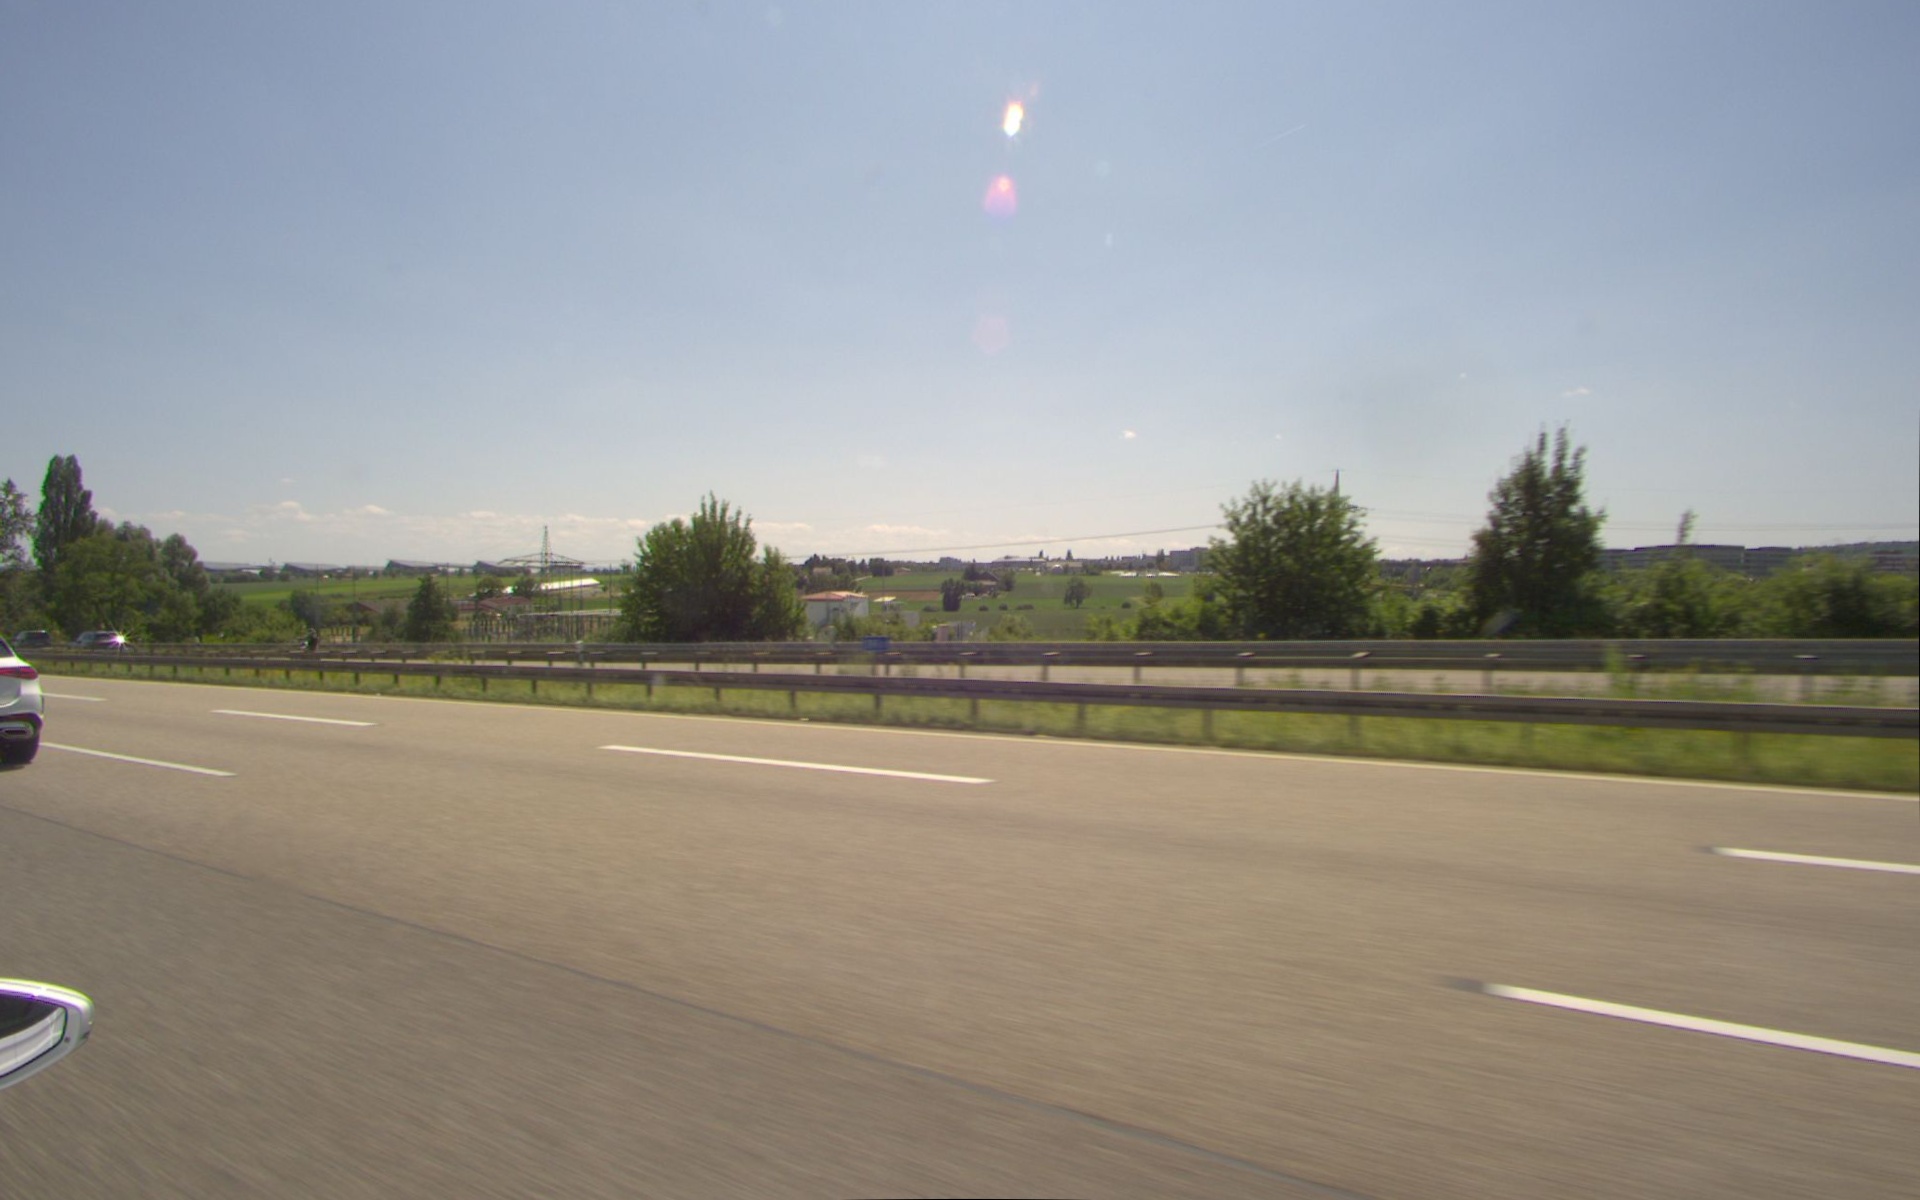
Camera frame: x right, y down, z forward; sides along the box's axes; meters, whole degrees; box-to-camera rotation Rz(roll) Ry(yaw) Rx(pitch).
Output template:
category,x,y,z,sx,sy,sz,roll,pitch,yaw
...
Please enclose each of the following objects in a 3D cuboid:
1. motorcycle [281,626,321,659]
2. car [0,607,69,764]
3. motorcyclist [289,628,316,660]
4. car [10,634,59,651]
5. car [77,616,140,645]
category,x,y,z,sx,sy,sz,roll,pitch,yaw
motorcycle,-28.594,1.840,43.473,1.843,1.384,0.758,-1,-2,33
car,-12.515,0.943,11.688,4.928,1.668,1.895,-1,-2,33
motorcyclist,-28.537,1.901,43.437,0.866,1.384,0.667,-1,-2,32
car,-72.805,3.325,78.752,3.940,1.293,1.698,-1,-2,30
car,-48.818,1.775,57.410,4.071,1.595,1.696,-1,-2,34
